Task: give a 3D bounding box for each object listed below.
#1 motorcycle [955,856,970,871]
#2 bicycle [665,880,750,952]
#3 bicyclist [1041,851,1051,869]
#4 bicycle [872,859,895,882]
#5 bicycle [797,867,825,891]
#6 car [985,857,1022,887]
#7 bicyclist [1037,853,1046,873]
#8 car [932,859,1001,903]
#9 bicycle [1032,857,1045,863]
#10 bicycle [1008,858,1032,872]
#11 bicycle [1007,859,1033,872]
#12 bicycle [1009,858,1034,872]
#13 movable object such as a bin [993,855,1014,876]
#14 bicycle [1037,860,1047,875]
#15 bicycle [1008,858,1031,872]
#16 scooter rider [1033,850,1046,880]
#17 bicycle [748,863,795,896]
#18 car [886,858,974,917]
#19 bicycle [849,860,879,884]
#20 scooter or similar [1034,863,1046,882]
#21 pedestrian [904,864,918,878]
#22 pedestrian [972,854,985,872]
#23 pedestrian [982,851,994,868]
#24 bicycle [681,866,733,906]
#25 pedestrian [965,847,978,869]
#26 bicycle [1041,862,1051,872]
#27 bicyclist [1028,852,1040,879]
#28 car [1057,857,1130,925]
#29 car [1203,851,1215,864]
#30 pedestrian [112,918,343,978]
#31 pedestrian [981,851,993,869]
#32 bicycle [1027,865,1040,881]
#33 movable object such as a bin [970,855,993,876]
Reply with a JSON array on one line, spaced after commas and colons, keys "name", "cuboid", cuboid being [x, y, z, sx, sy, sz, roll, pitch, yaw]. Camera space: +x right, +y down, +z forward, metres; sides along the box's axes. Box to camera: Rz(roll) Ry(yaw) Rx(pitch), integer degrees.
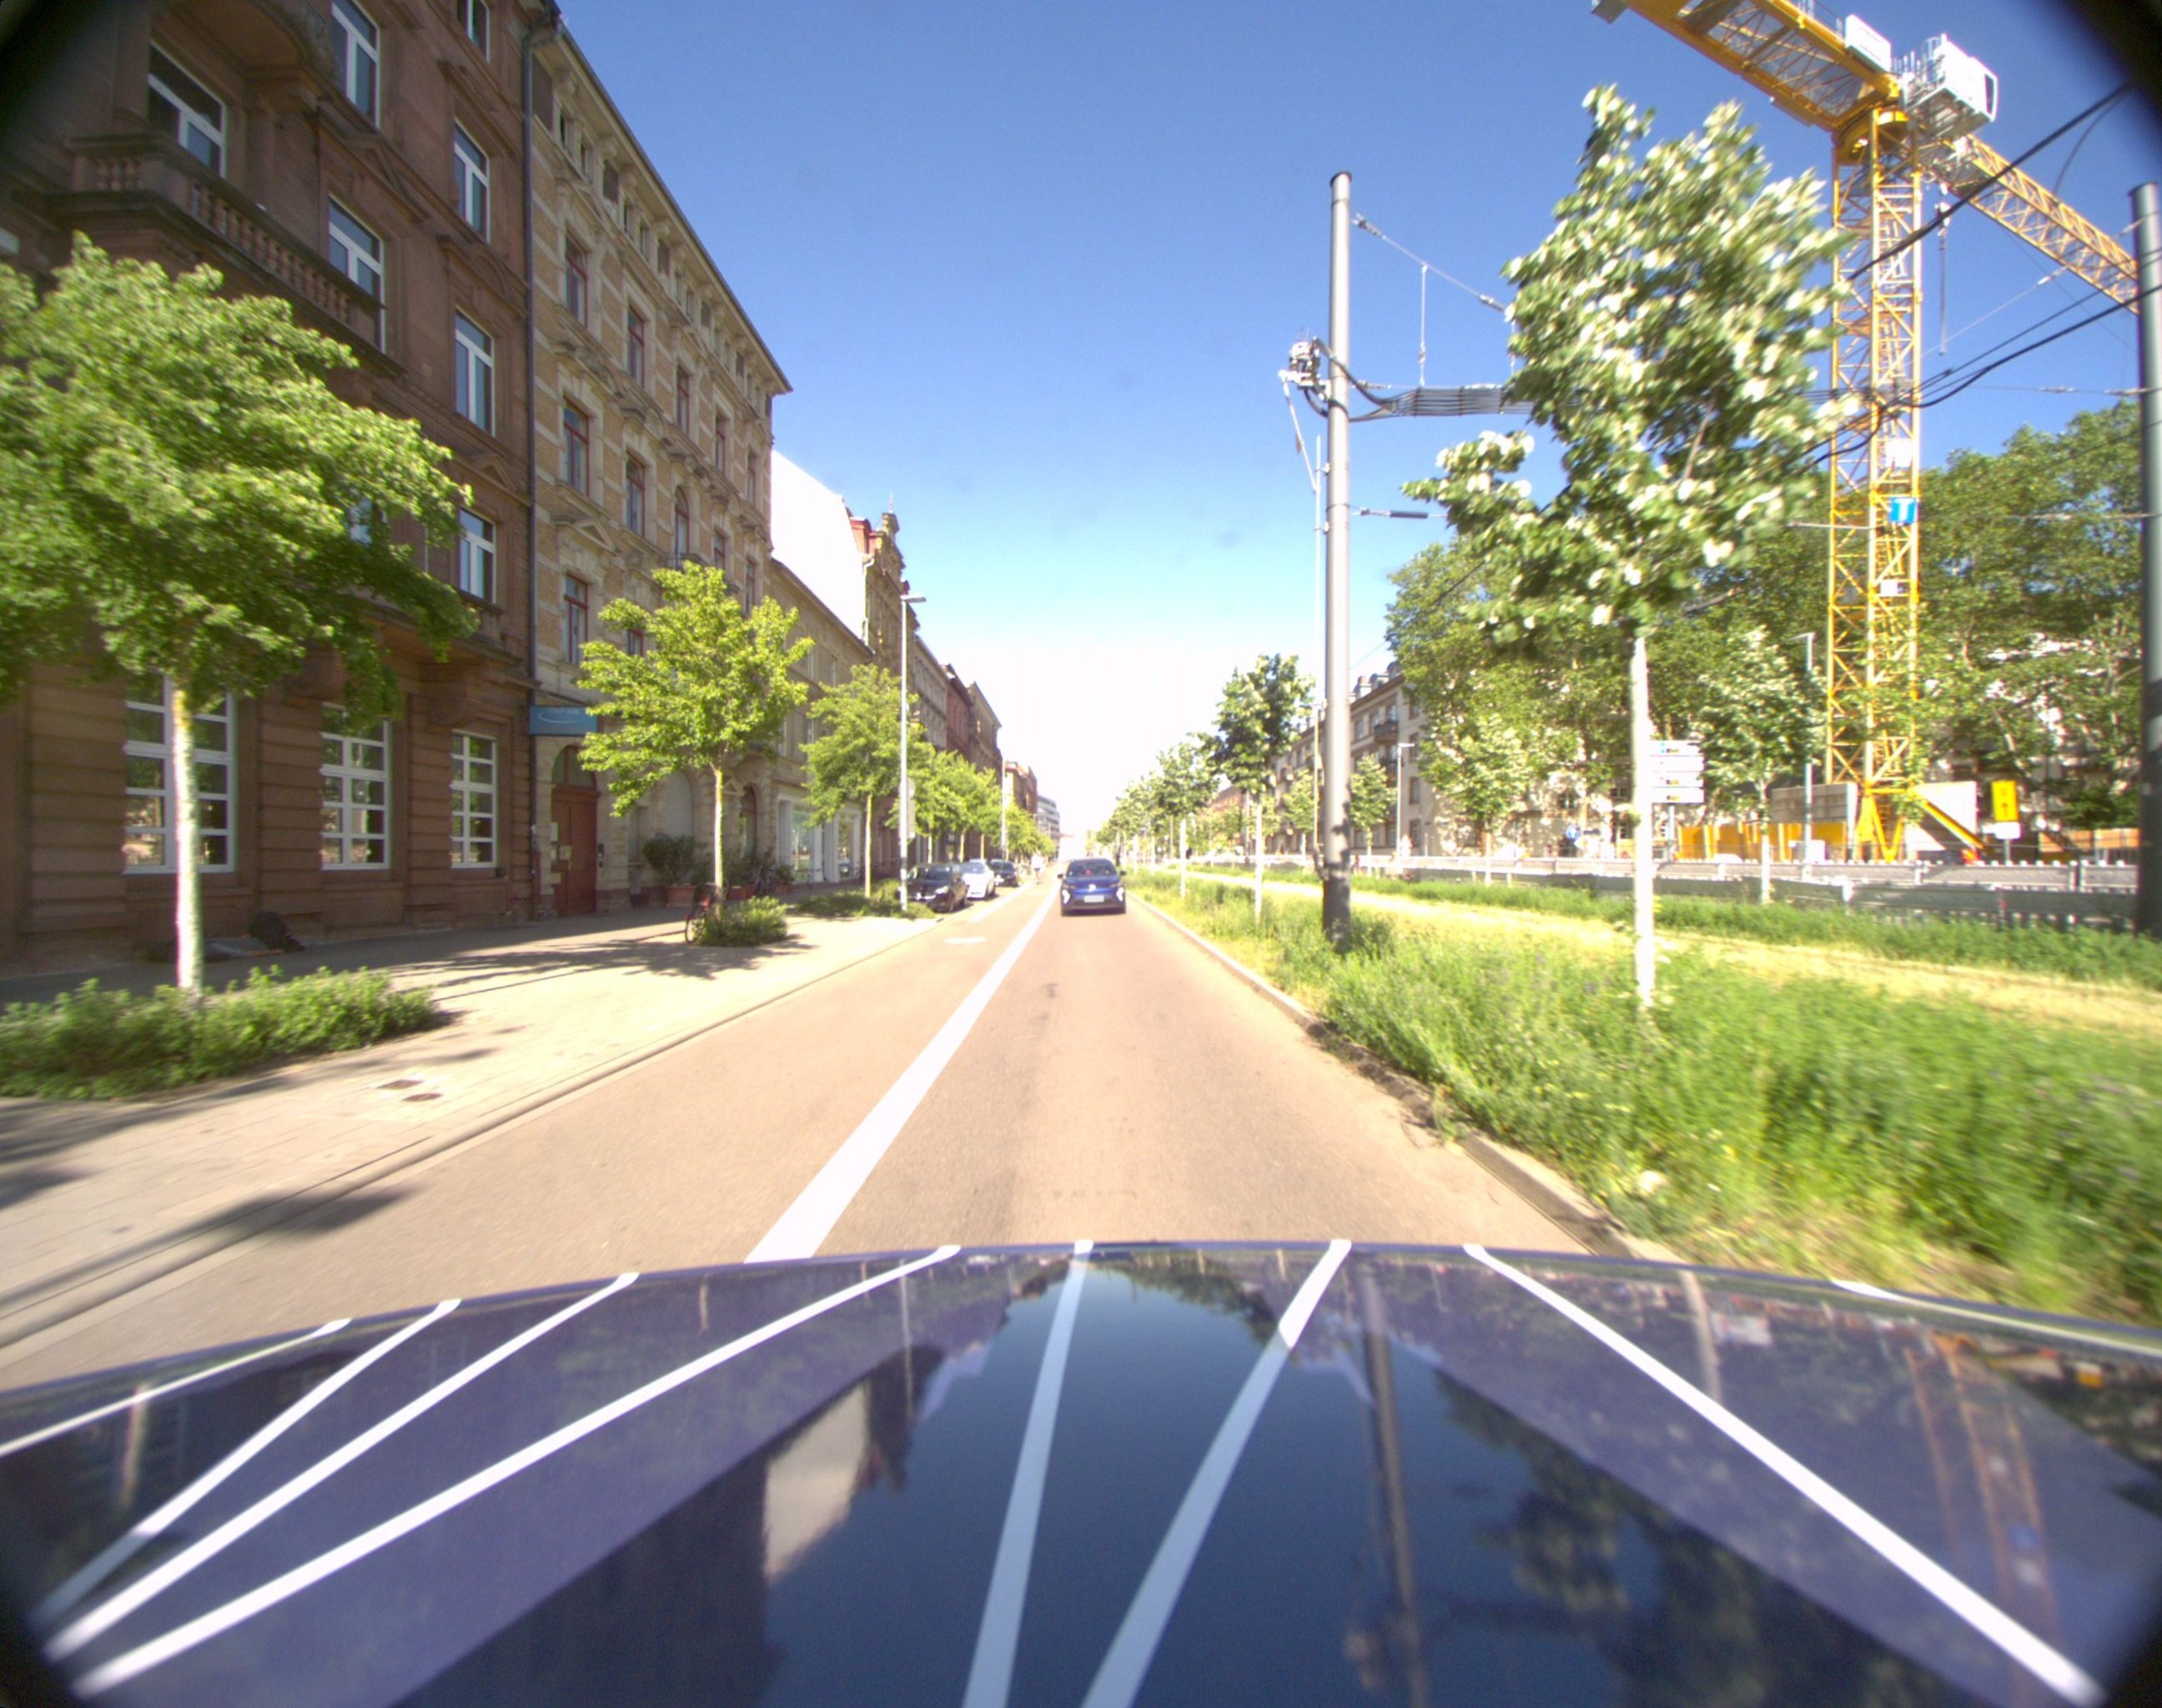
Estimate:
[{"name": "motorcycle", "cuboid": [-10.331, 0.796, 66.416, 0.868, 1.259, 2.981, -1, 1, 0]}, {"name": "bicycle", "cuboid": [-6.785, 1.094, 13.931, 0.652, 1.113, 2.171, 1, 1, -6]}, {"name": "bicyclist", "cuboid": [-3.414, 0.599, 74.329, 0.854, 1.717, 0.988, -1, 1, 0]}, {"name": "bicycle", "cuboid": [-10.624, 0.871, 40.965, 0.750, 1.194, 1.800, 1, 1, 0]}, {"name": "bicycle", "cuboid": [-11.103, 1.006, 31.314, 0.448, 0.939, 2.012, -1, 0, 0]}, {"name": "car", "cuboid": [-4.352, 0.965, 43.236, 1.770, 1.468, 4.447, 2, 1, -3]}, {"name": "bicyclist", "cuboid": [-3.310, 0.754, 64.002, 0.725, 1.595, 0.895, -1, 1, 0]}, {"name": "car", "cuboid": [-4.477, 1.016, 30.530, 1.956, 1.486, 5.104, 2, 0, 0]}, {"name": "bicycle", "cuboid": [-7.000, 0.947, 125.113, 1.905, 0.906, 0.592, 2, 2, 8]}, {"name": "bicycle", "cuboid": [-5.361, 0.973, 66.769, 2.050, 1.100, 0.610, 3, 1, -6]}, {"name": "bicycle", "cuboid": [-5.453, 1.017, 68.198, 2.293, 1.096, 0.485, 2, 1, -14]}, {"name": "bicycle", "cuboid": [-5.312, 0.942, 67.853, 2.154, 1.148, 0.429, 3, 0, -14]}, {"name": "movable object such as a bin", "cuboid": [-5.716, 0.849, 56.112, 1.274, 1.454, 1.645, -1, -2, 5]}, {"name": "bicycle", "cuboid": [-3.300, 1.129, 64.044, 0.725, 1.187, 1.952, -1, 0, 0]}, {"name": "bicycle", "cuboid": [-5.354, 0.981, 66.361, 1.980, 1.117, 0.481, 3, 0, -5]}, {"name": "scooter rider", "cuboid": [-2.625, 0.686, 48.110, 0.662, 1.855, 0.898, -1, 1, 3]}, {"name": "bicycle", "cuboid": [-10.870, 0.867, 26.765, 0.723, 1.084, 2.198, 1, 0, 0]}, {"name": "car", "cuboid": [-4.620, 0.972, 23.793, 1.888, 1.560, 4.219, 2, 1, 0]}, {"name": "bicycle", "cuboid": [-10.801, 0.882, 37.899, 0.878, 1.098, 2.181, 3, 0, -3]}, {"name": "scooter or similar", "cuboid": [-2.614, 1.184, 48.110, 0.647, 1.151, 1.150, -1, 1, 1]}, {"name": "pedestrian", "cuboid": [-10.959, 1.084, 48.903, 0.873, 0.814, 0.979, -1, 1, -13]}, {"name": "pedestrian", "cuboid": [-9.259, 0.787, 68.573, 0.974, 1.629, 0.992, 1, 0, 0]}, {"name": "pedestrian", "cuboid": [-9.401, 0.524, 76.660, 0.972, 1.682, 1.114, 2, 1, 1]}, {"name": "bicycle", "cuboid": [-10.999, 0.903, 22.420, 0.482, 1.084, 2.057, 1, 0, 0]}, {"name": "pedestrian", "cuboid": [-10.021, 0.358, 69.608, 0.891, 1.909, 1.098, 2, 1, 5]}, {"name": "bicycle", "cuboid": [-3.399, 1.261, 74.330, 0.830, 1.000, 1.952, -1, 0, 0]}, {"name": "bicyclist", "cuboid": [-3.265, 0.786, 52.372, 0.725, 1.807, 1.091, -1, 1, 0]}, {"name": "car", "cuboid": [0.298, 0.933, 21.173, 1.758, 1.576, 4.420, -3, 0, 0]}, {"name": "car", "cuboid": [24.326, 0.575, 144.311, 1.997, 2.283, 5.191, -1, 1, 8]}, {"name": "pedestrian", "cuboid": [-11.016, 1.194, 9.944, 0.775, 0.550, 2.007, 0, 0, 0]}, {"name": "pedestrian", "cuboid": [-8.590, 0.543, 69.443, 0.953, 1.557, 1.080, 1, 0, 0]}, {"name": "bicycle", "cuboid": [-3.252, 1.302, 52.379, 0.725, 1.000, 1.952, -1, 0, 1]}, {"name": "movable object such as a bin", "cuboid": [-7.317, 0.830, 55.937, 1.377, 1.487, 1.749, 2, 1, 1]}]
